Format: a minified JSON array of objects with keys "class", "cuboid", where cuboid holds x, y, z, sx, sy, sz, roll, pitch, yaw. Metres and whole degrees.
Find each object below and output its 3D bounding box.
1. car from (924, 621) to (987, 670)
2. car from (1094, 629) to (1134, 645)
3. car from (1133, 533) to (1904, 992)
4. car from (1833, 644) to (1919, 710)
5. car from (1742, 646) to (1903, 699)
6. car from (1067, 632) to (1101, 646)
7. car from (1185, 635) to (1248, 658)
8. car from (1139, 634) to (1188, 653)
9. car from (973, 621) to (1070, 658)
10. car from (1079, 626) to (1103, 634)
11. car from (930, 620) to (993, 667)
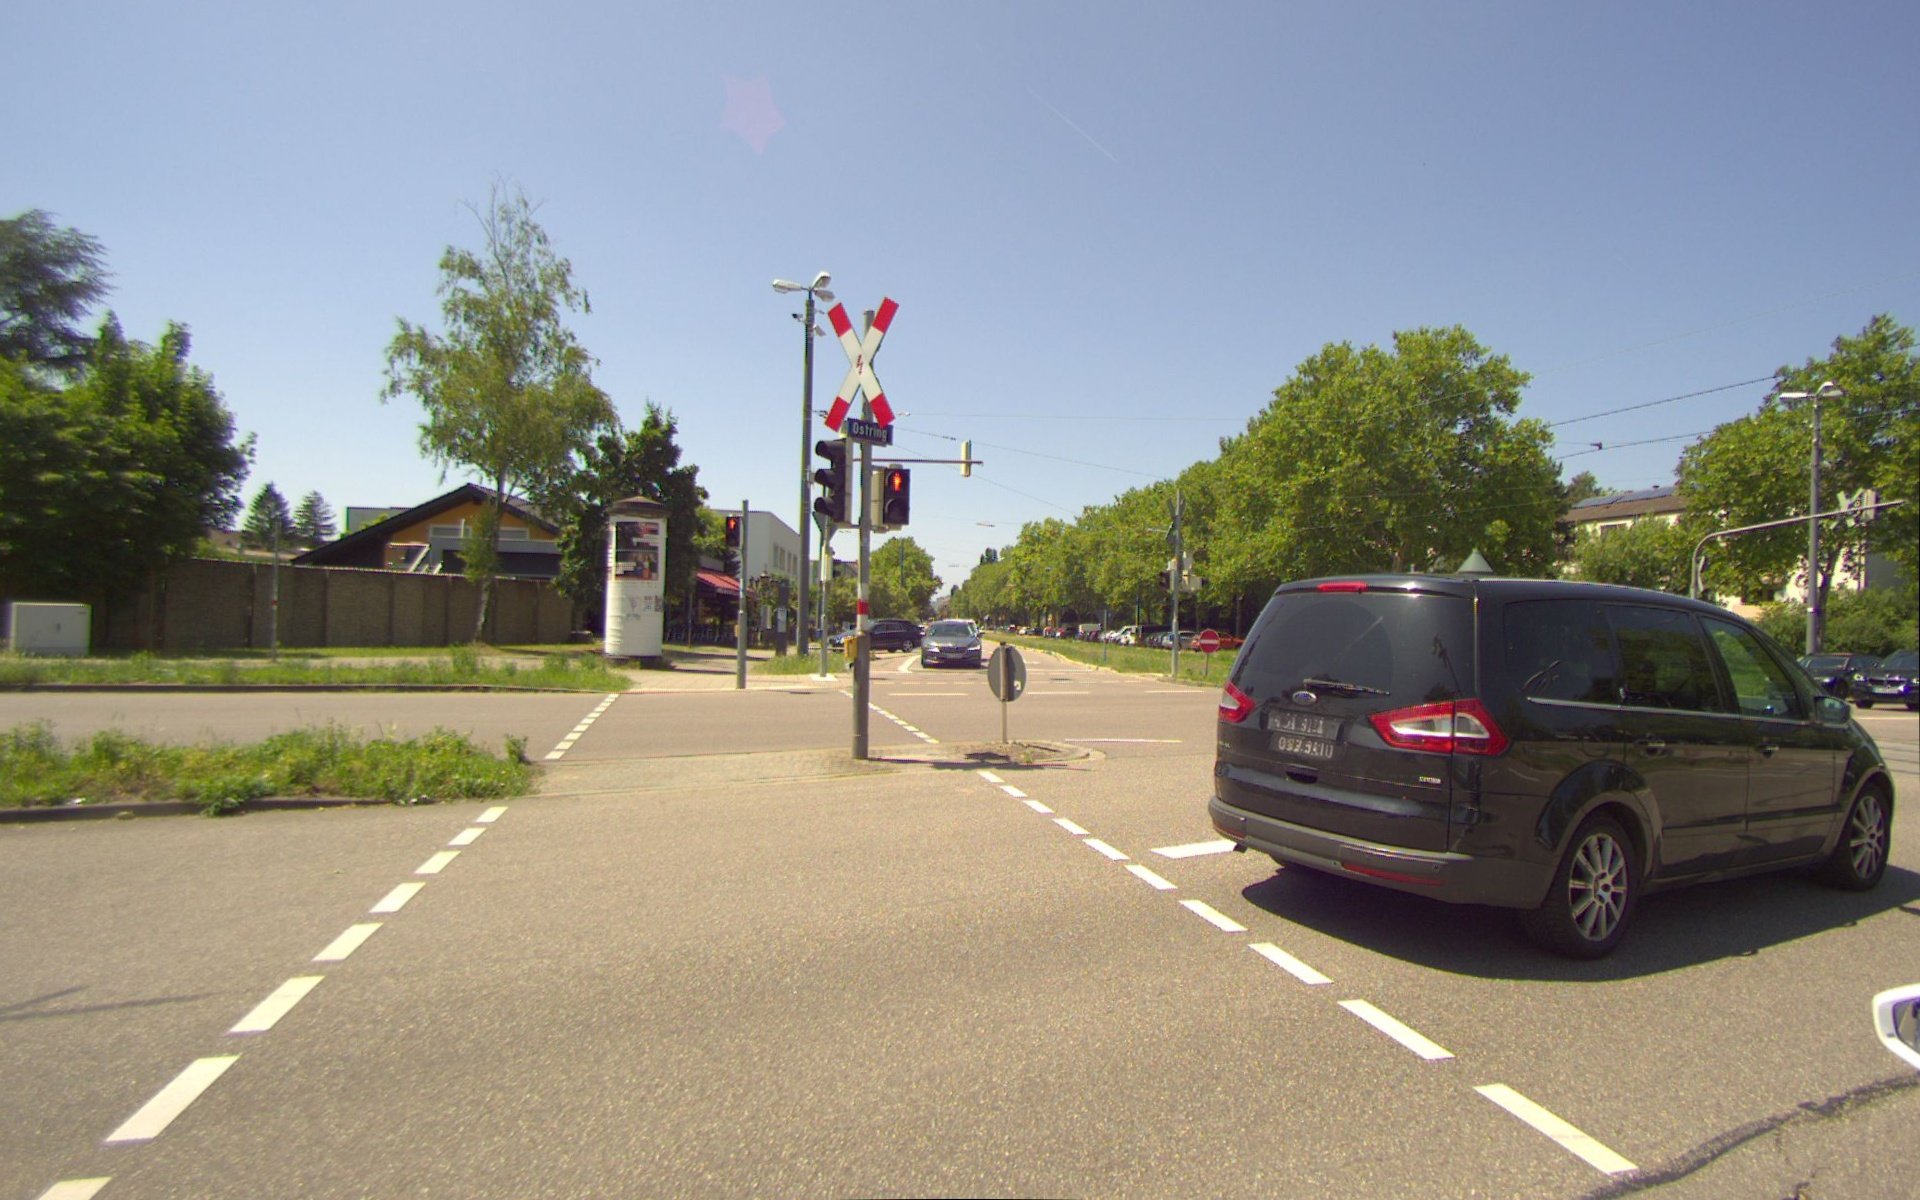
[{"class":"car","cuboid":[-0.205,1.420,32.241,1.851,1.398,4.670,2,-1,-2]},{"class":"car","cuboid":[14.755,3.506,96.455,3.484,1.415,1.498,2,-1,-7]},{"class":"car","cuboid":[3.401,0.712,5.864,4.594,1.779,1.845,2,-1,-30]},{"class":"car","cuboid":[25.289,2.017,26.400,4.239,1.559,1.904,3,-1,-24]},{"class":"car","cuboid":[26.545,2.230,30.908,4.680,1.459,1.944,2,-1,-24]},{"class":"car","cuboid":[13.880,4.365,112.240,3.484,1.415,1.498,2,-1,-7]},{"class":"car","cuboid":[18.395,3.334,72.015,4.060,1.415,1.457,3,0,-7]},{"class":"car","cuboid":[16.145,3.450,79.713,3.484,1.415,1.498,2,-1,-7]},{"class":"car","cuboid":[2.996,1.901,48.562,4.518,1.672,1.769,2,-1,-32]},{"class":"car","cuboid":[16.327,3.738,125.213,2.669,1.007,1.008,2,-1,-6]},{"class":"car","cuboid":[-0.001,1.628,38.479,2.174,1.626,4.460,2,-1,-2]}]
